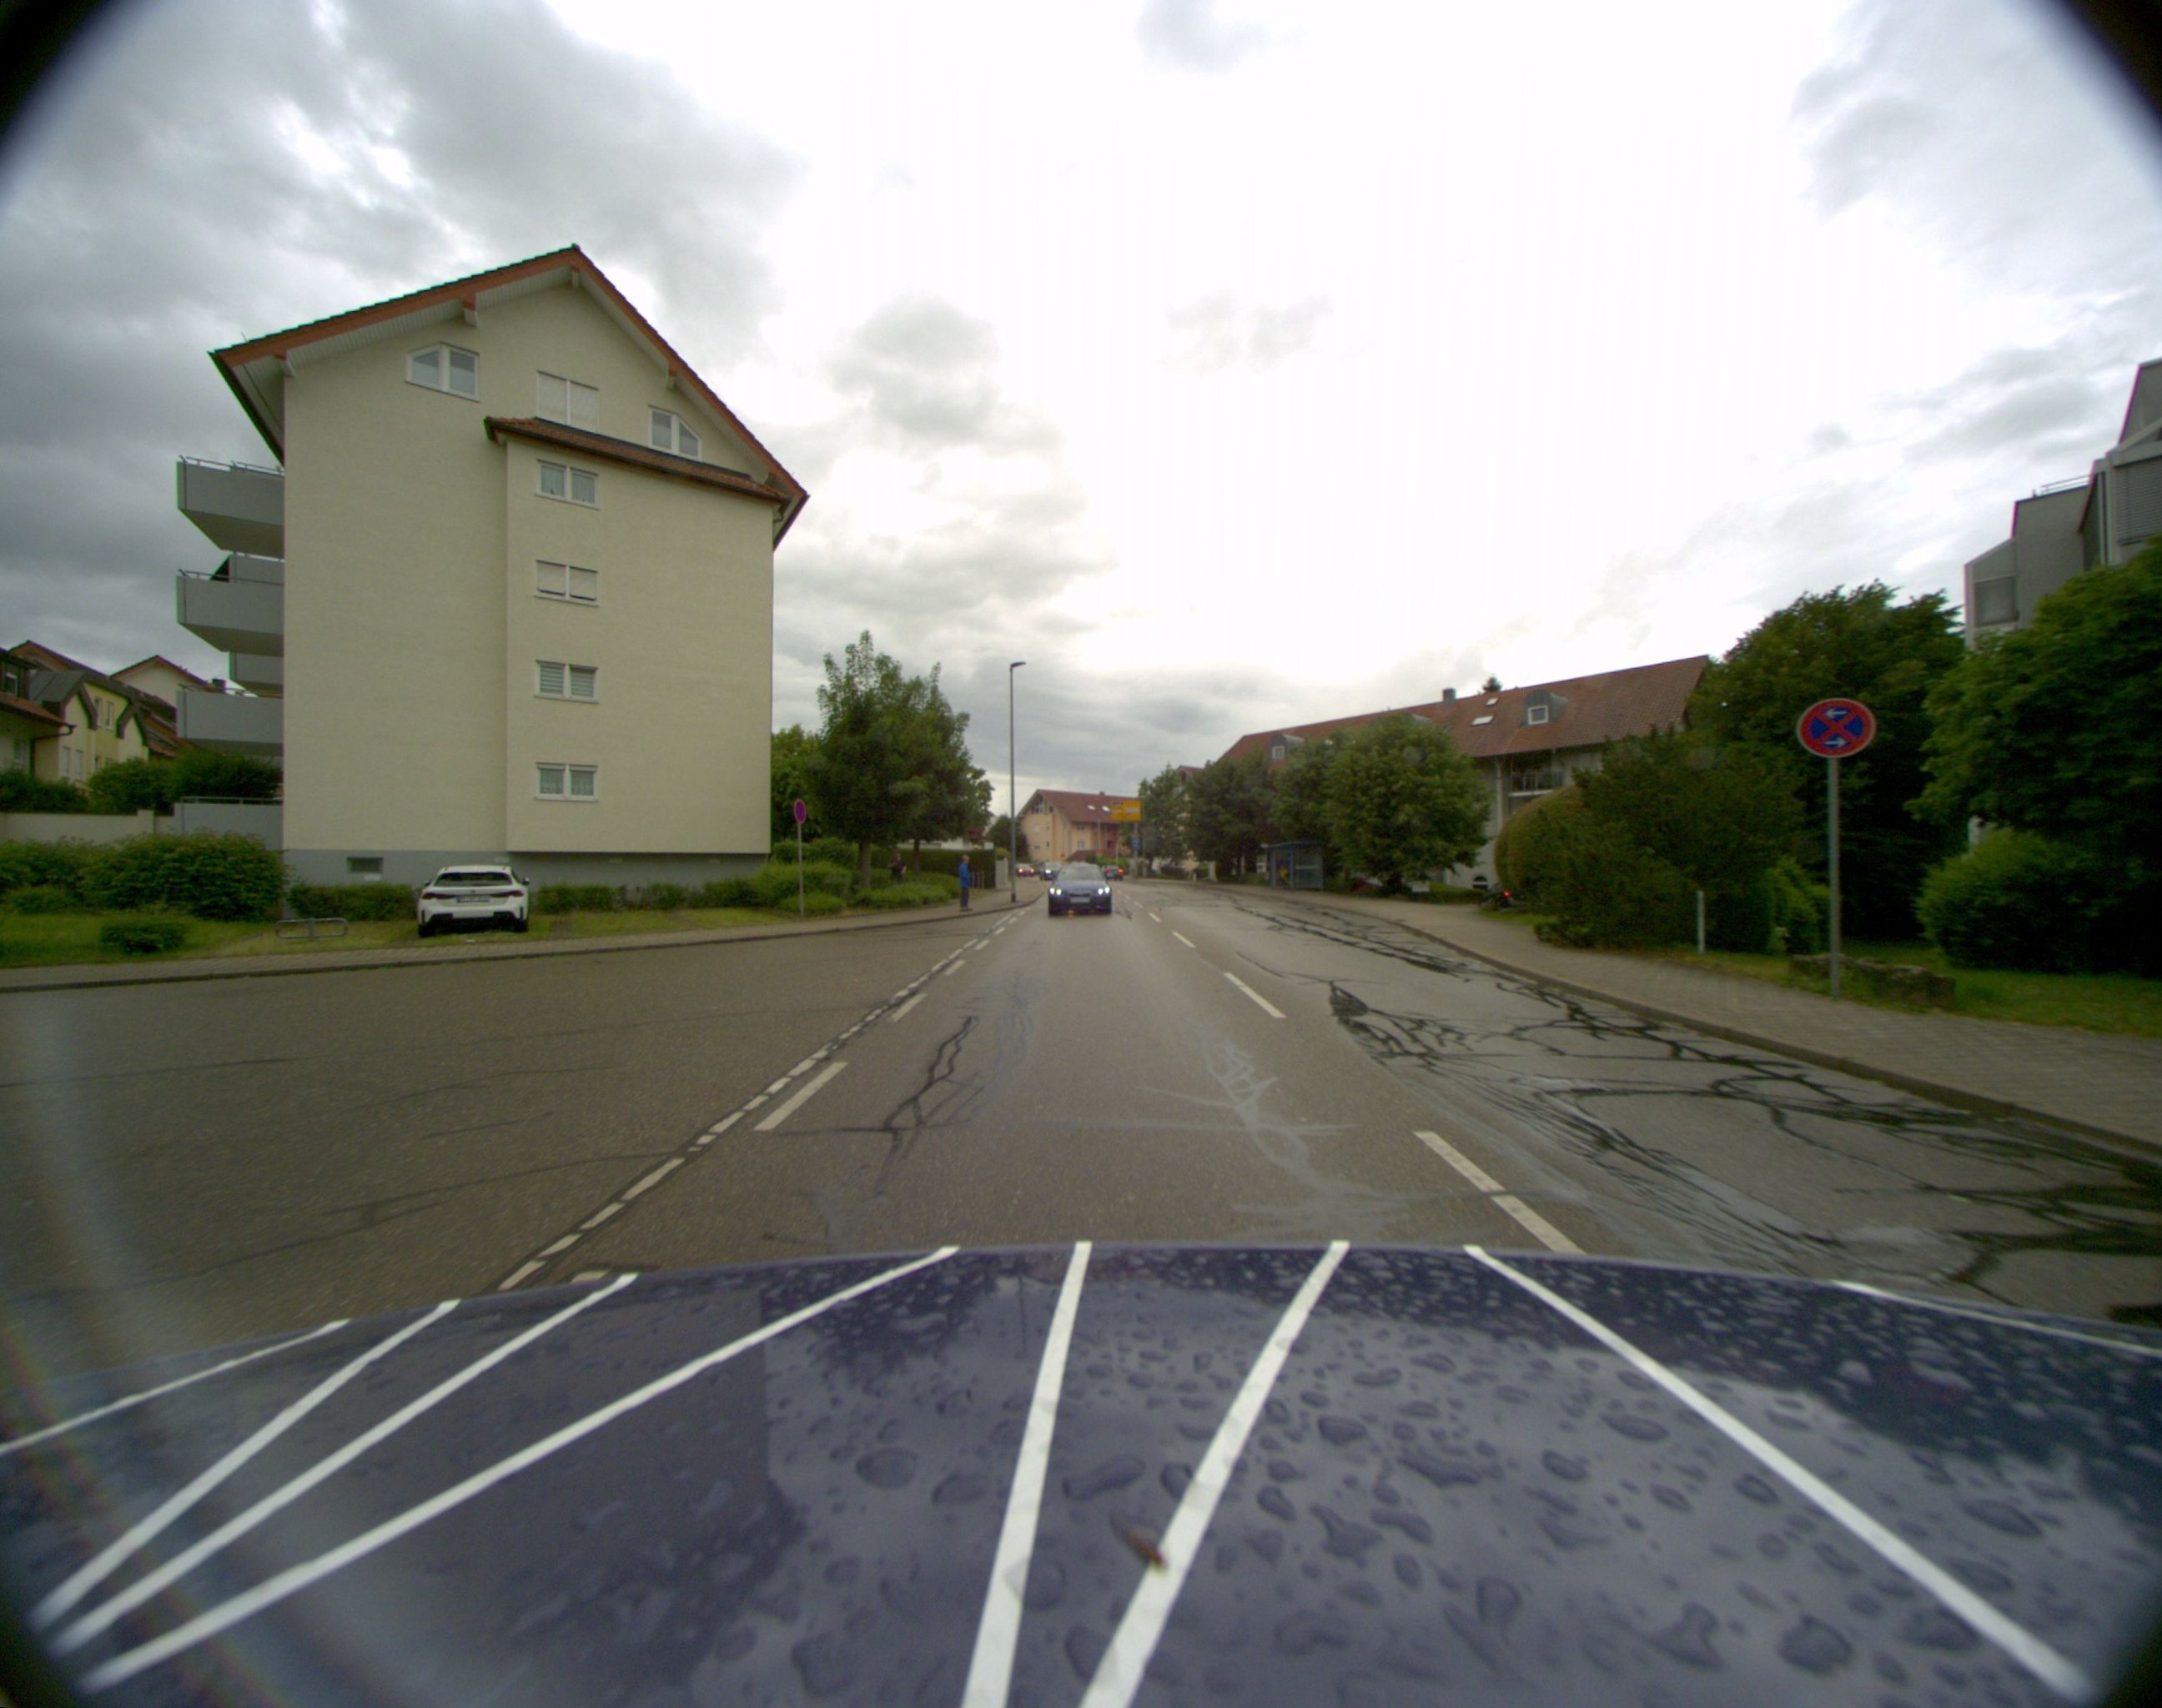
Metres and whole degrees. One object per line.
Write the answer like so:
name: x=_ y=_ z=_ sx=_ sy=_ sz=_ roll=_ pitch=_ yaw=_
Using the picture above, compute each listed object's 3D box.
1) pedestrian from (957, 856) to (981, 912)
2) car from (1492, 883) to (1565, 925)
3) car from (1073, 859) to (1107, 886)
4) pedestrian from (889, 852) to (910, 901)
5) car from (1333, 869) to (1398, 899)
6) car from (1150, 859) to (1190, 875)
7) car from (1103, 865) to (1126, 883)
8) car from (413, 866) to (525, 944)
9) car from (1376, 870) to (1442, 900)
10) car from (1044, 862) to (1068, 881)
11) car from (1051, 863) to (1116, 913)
pedestrian: x=-3.406 y=0.910 z=23.134 sx=0.591 sy=1.656 sz=0.774 roll=-1 pitch=1 yaw=-16
car: x=18.523 y=2.146 z=31.641 sx=1.996 sy=1.411 sz=4.179 roll=-3 pitch=-9 yaw=23
car: x=0.512 y=1.045 z=44.225 sx=1.840 sy=1.440 sz=4.000 roll=-1 pitch=0 yaw=0
pedestrian: x=-6.635 y=0.799 z=27.753 sx=0.616 sy=1.762 sz=0.670 roll=-1 pitch=0 yaw=-20
car: x=15.515 y=1.580 z=41.640 sx=1.774 sy=1.455 sz=3.998 roll=-1 pitch=0 yaw=-5
car: x=9.174 y=1.352 z=78.237 sx=1.742 sy=1.592 sz=3.989 roll=0 pitch=0 yaw=-41
car: x=2.925 y=1.764 z=66.856 sx=1.678 sy=1.434 sz=3.999 roll=-1 pitch=0 yaw=-3
car: x=-13.372 y=1.015 z=16.770 sx=1.750 sy=1.472 sz=3.759 roll=0 pitch=0 yaw=-36
car: x=17.924 y=1.639 z=41.761 sx=1.615 sy=1.455 sz=3.998 roll=-1 pitch=0 yaw=-5
car: x=-2.253 y=1.535 z=67.112 sx=1.841 sy=1.541 sz=3.998 roll=-1 pitch=0 yaw=-6
car: x=0.042 y=1.052 z=24.872 sx=1.913 sy=1.425 sz=4.300 roll=-1 pitch=0 yaw=-1
